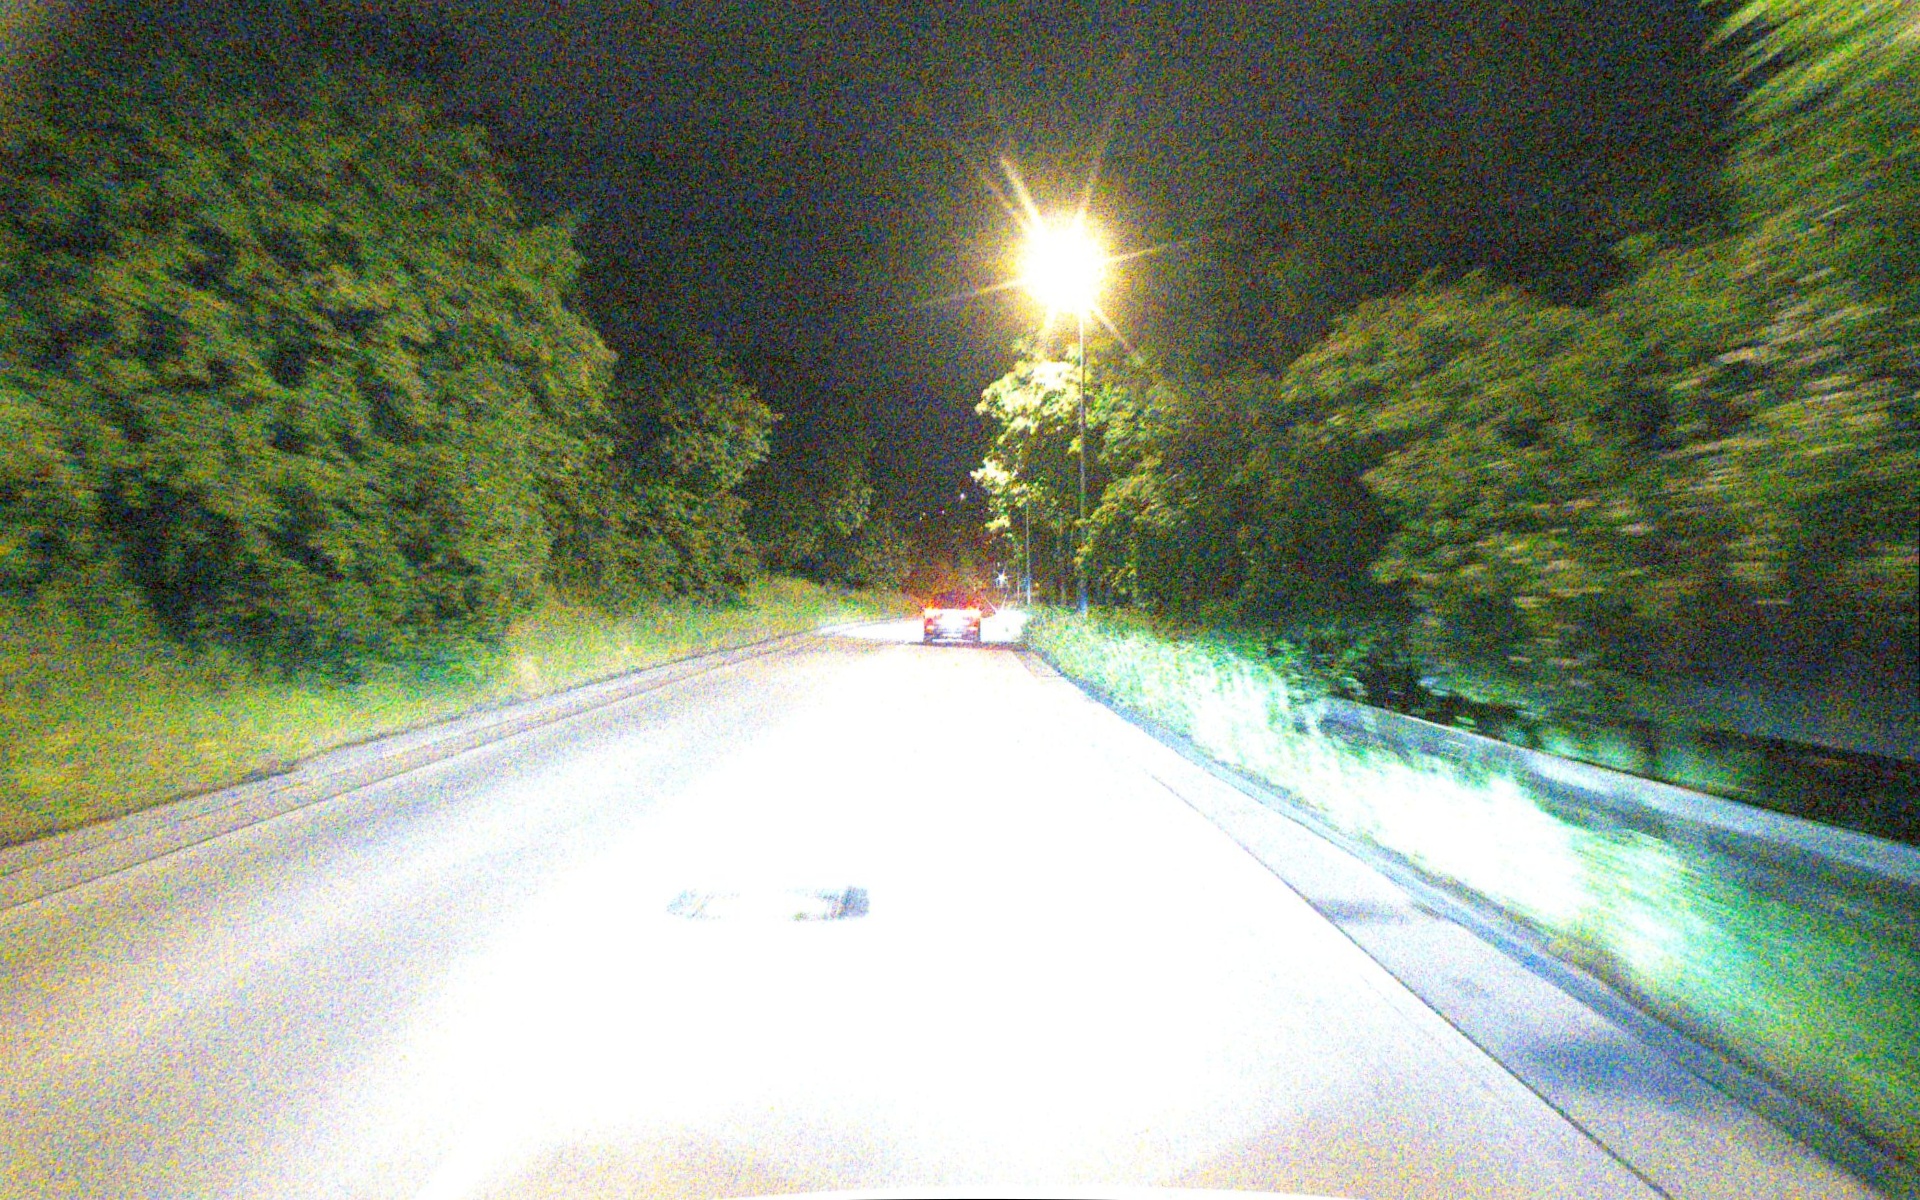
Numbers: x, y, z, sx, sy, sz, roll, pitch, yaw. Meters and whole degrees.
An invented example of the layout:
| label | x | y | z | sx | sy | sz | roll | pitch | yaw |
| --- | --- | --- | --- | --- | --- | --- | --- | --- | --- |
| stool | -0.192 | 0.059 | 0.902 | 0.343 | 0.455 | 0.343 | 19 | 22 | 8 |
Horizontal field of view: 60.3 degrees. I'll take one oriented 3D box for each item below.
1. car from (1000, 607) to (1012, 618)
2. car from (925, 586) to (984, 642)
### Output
| label | x | y | z | sx | sy | sz | roll | pitch | yaw |
| --- | --- | --- | --- | --- | --- | --- | --- | --- | --- |
| car | 6.482 | 1.763 | 235.237 | 1.652 | 1.483 | 4.001 | 1 | 0 | 2 |
| car | -0.179 | 0.418 | 51.437 | 1.727 | 1.670 | 3.722 | 1 | 0 | -1 |
